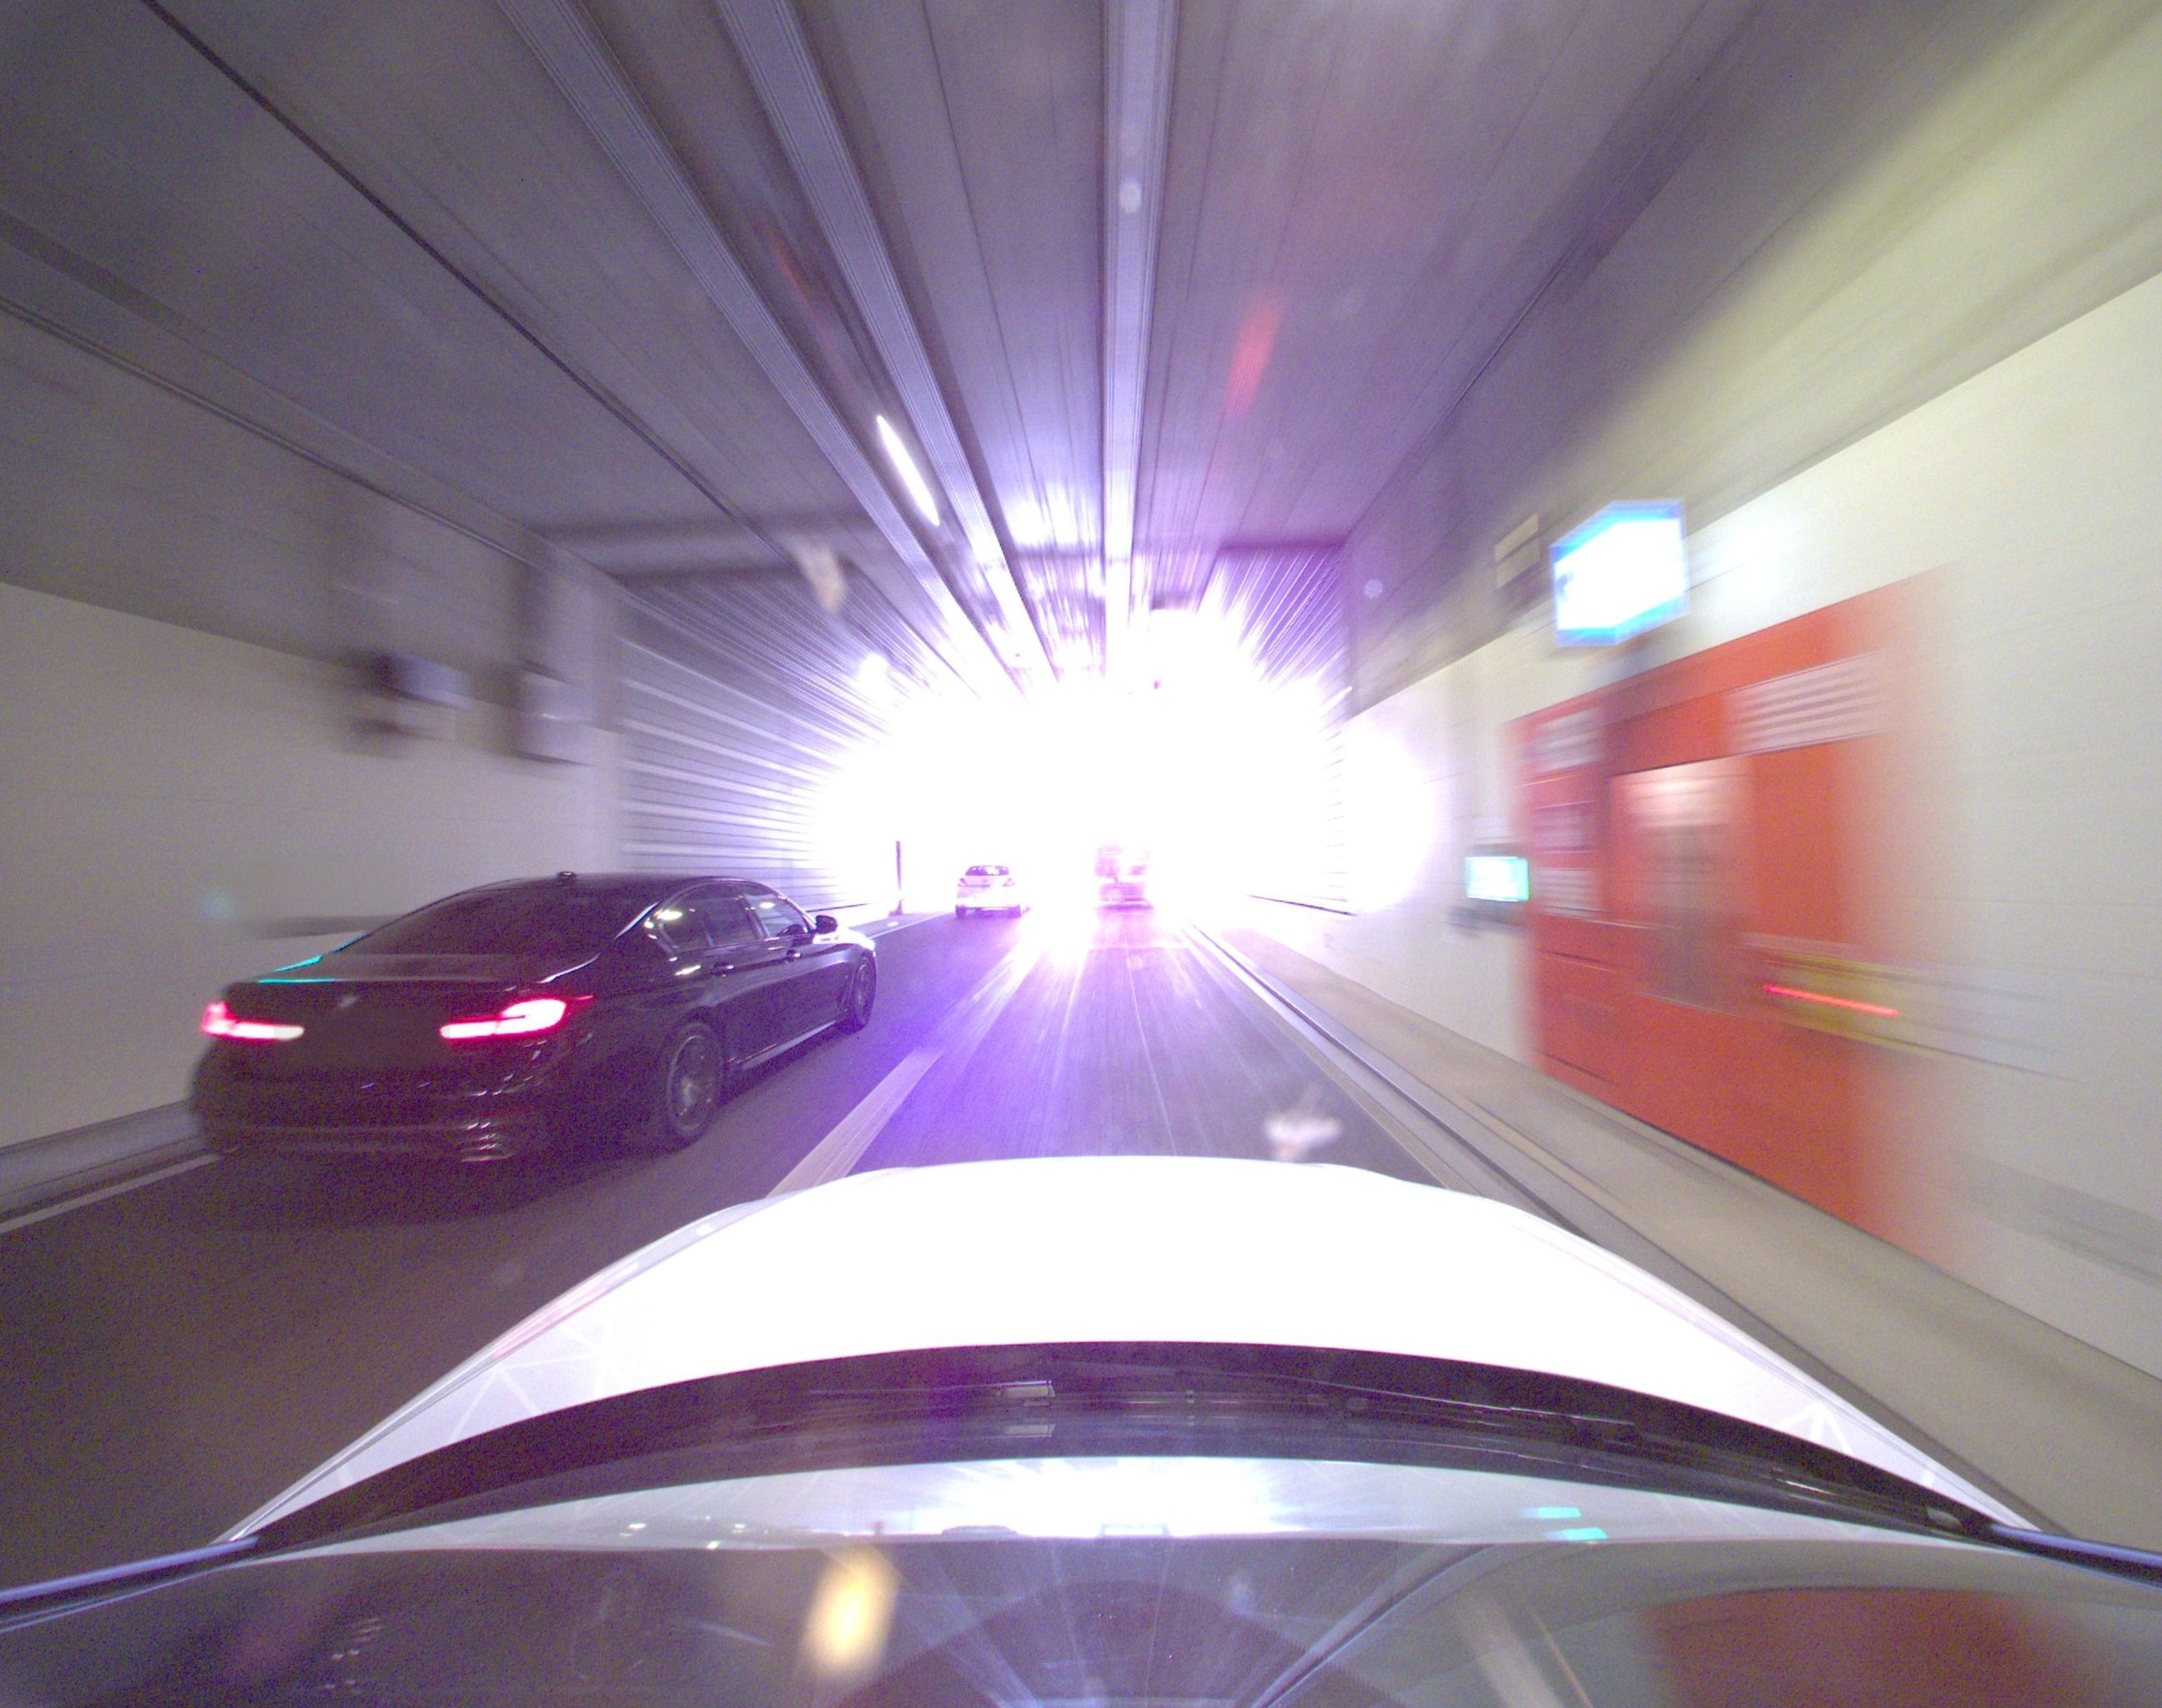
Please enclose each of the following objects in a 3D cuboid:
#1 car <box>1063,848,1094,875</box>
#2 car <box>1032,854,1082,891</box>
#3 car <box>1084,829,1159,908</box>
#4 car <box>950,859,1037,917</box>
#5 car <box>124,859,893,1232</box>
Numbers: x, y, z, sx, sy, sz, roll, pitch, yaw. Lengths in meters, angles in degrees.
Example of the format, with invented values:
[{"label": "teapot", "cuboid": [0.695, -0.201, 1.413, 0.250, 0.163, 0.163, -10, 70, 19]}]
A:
[{"label": "car", "cuboid": [-0.126, 0.507, 51.751, 1.870, 1.582, 4.220, 2, -2, 1]}, {"label": "car", "cuboid": [-1.035, 0.793, 36.726, 1.807, 1.512, 4.225, 2, 0, 4]}, {"label": "car", "cuboid": [1.282, 0.417, 25.703, 2.149, 2.266, 4.640, 0, 0, 3]}, {"label": "car", "cuboid": [-2.271, 0.853, 22.158, 1.702, 1.413, 3.977, 0, 0, 3]}, {"label": "car", "cuboid": [-2.857, 0.779, 5.677, 1.689, 1.422, 4.854, 2, -1, 3]}]
